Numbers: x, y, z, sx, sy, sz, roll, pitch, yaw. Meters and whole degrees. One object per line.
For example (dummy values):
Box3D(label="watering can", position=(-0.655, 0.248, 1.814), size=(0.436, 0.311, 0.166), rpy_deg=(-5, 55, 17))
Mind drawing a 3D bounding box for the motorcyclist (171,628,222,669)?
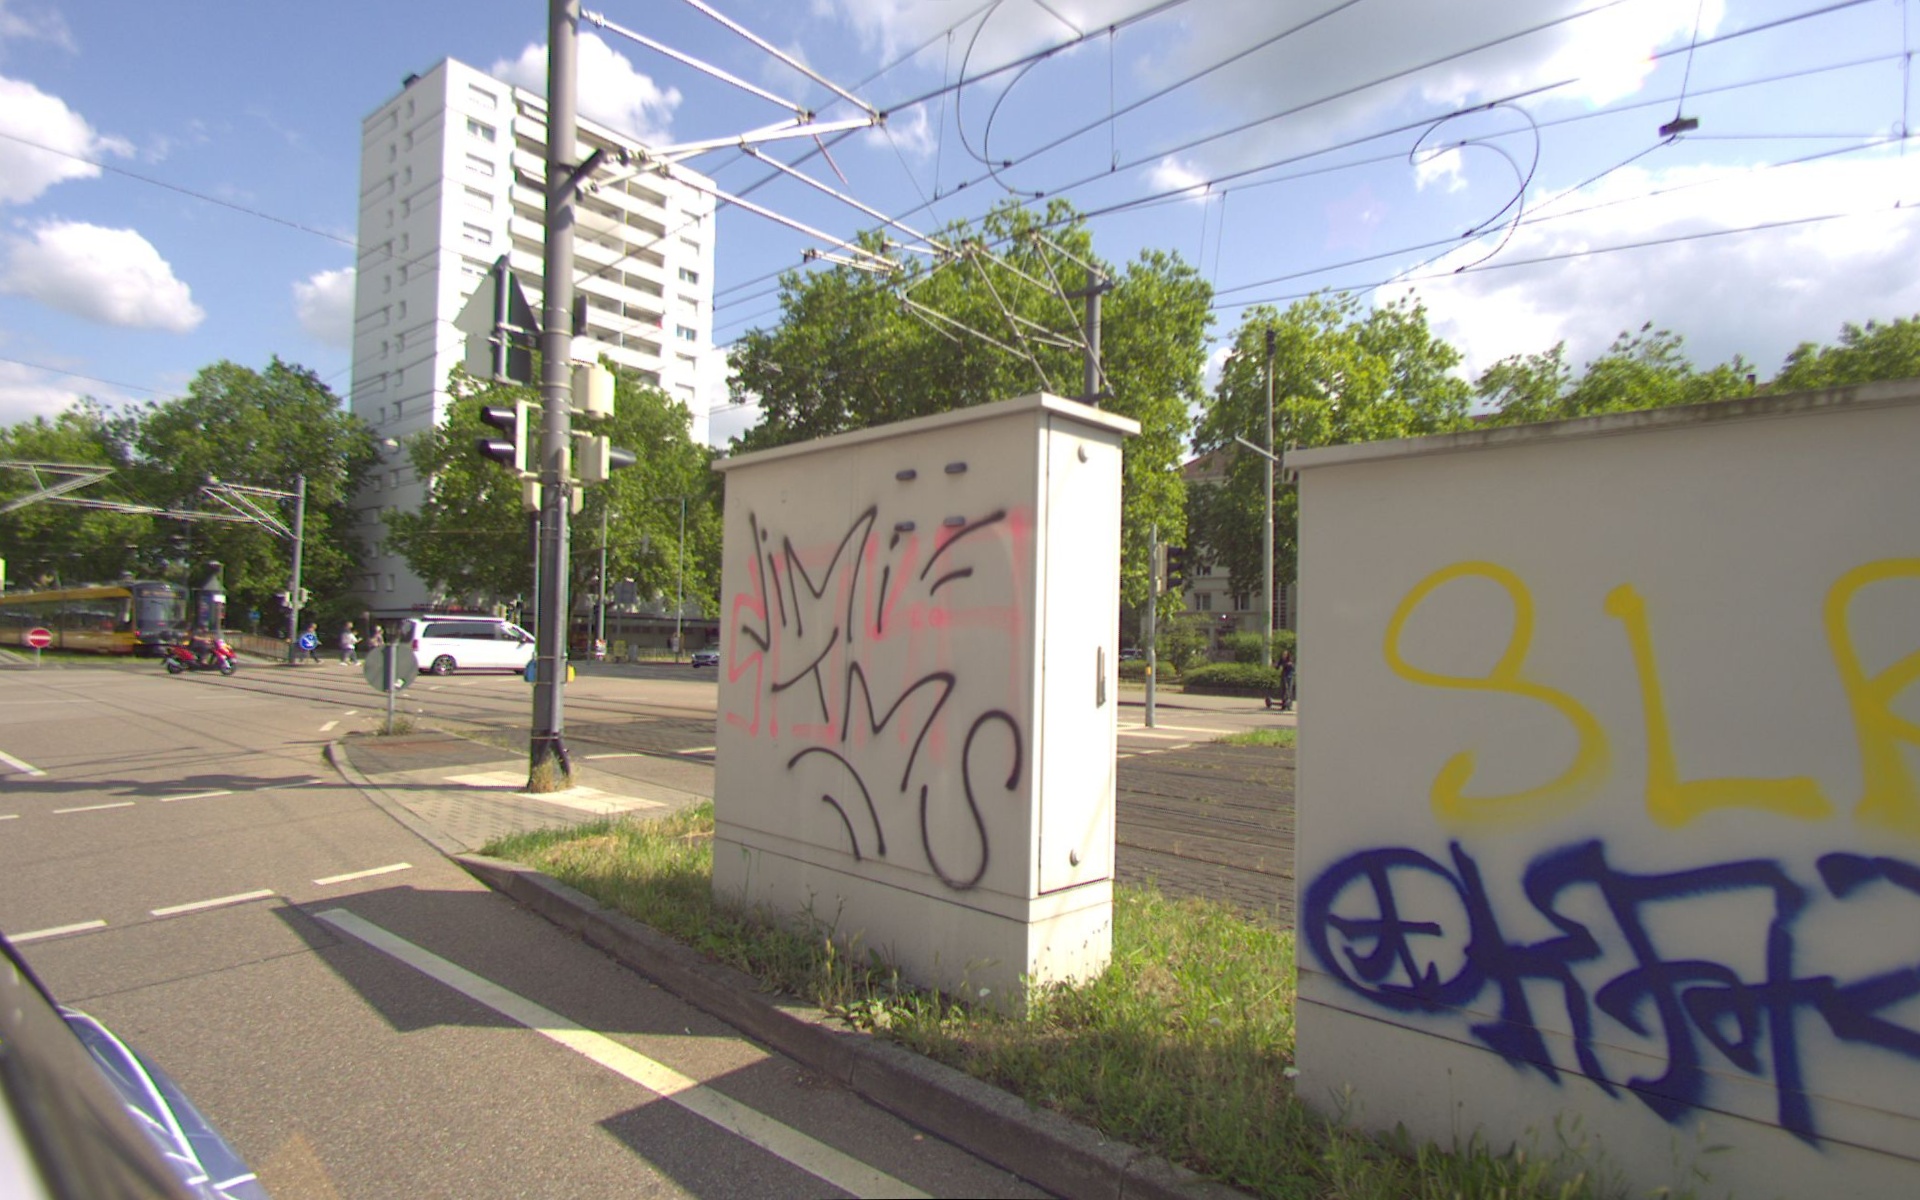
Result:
Box3D(label="motorcyclist", position=(-23.063, 1.465, 30.595), size=(0.962, 1.227, 0.699), rpy_deg=(1, -2, -5))

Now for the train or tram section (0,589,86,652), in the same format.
Box3D(label="train or tram section", position=(-57.109, 1.296, 62.280), size=(12.141, 3.588, 2.778), rpy_deg=(-1, -3, 39))

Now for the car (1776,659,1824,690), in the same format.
Box3D(label="car", position=(48.996, 4.299, 59.114), size=(1.848, 1.672, 4.034), rpy_deg=(-1, -3, 36))

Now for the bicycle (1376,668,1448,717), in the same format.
Box3D(label="bicycle", position=(11.113, 2.265, 24.886), size=(1.604, 1.121, 0.508), rpy_deg=(-1, -1, -12))

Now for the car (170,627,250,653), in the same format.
Box3D(label="car", position=(-46.383, 2.469, 62.632), size=(3.806, 1.501, 1.855), rpy_deg=(1, -3, 10))

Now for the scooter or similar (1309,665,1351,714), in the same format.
Box3D(label="scooter or similar", position=(9.406, 2.270, 25.744), size=(0.535, 1.180, 0.879), rpy_deg=(1, -1, -26))

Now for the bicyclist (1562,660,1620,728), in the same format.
Box3D(label="bicyclist", position=(12.953, 1.914, 20.777), size=(0.464, 1.354, 0.910), rpy_deg=(3, -4, -43))

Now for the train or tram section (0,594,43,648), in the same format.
Box3D(label="train or tram section", position=(-65.265, 1.443, 68.886), size=(8.896, 3.509, 2.739), rpy_deg=(-1, -3, 39))

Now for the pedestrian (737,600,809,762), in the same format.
Box3D(label="pedestrian", position=(-2.089, 0.886, 11.335), size=(0.556, 1.746, 0.522), rpy_deg=(-1, -3, 34))

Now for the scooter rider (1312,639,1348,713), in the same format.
Box3D(label="scooter rider", position=(9.414, 1.923, 25.738), size=(0.535, 1.824, 0.682), rpy_deg=(1, -1, -26))

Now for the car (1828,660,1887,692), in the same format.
Box3D(label="car", position=(51.033, 4.276, 57.638), size=(2.078, 1.672, 4.034), rpy_deg=(-1, -3, 36))

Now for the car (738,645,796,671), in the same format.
Box3D(label="car", position=(-11.858, 3.547, 62.426), size=(1.845, 1.501, 4.053), rpy_deg=(0, -3, 17))

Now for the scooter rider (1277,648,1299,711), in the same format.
Box3D(label="scooter rider", position=(8.585, 2.073, 26.514), size=(0.540, 1.605, 0.435), rpy_deg=(0, -1, 17))

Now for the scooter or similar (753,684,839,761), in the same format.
Box3D(label="scooter or similar", position=(-1.876, 1.388, 11.648), size=(0.552, 0.810, 0.831), rpy_deg=(-1, -3, 34))

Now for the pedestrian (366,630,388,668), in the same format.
Box3D(label="pedestrian", position=(-27.141, 2.273, 47.101), size=(0.647, 1.716, 0.662), rpy_deg=(-1, -3, 41))

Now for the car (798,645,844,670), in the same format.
Box3D(label="car", position=(-9.582, 3.953, 70.057), size=(1.675, 1.632, 3.979), rpy_deg=(0, -3, 16))

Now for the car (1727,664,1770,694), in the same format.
Box3D(label="car", position=(47.143, 4.698, 60.536), size=(1.848, 1.672, 4.034), rpy_deg=(-1, -3, 36))

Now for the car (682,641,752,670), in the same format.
Box3D(label="car", position=(-13.461, 3.092, 56.223), size=(1.848, 1.501, 3.971), rpy_deg=(0, -3, 21))

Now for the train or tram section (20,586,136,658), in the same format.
Box3D(label="train or tram section", position=(-47.982, 1.202, 54.914), size=(11.169, 3.588, 2.778), rpy_deg=(-1, -3, 39))

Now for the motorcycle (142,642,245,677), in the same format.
Box3D(label="motorcycle", position=(-23.133, 1.788, 30.576), size=(2.467, 0.984, 0.699), rpy_deg=(1, -2, -5))

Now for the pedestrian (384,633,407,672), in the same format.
Box3D(label="pedestrian", position=(-25.109, 2.324, 44.987), size=(0.647, 1.716, 0.662), rpy_deg=(-1, -3, 41))

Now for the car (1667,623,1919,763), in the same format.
Box3D(label="car", position=(14.230, 1.401, 15.583), size=(5.329, 2.002, 2.054), rpy_deg=(-3, -5, 39))

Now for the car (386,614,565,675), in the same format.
Box3D(label="car", position=(-16.371, 1.529, 34.407), size=(5.091, 1.906, 2.003), rpy_deg=(3, -3, -41))

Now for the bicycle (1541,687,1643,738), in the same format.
Box3D(label="bicycle", position=(12.943, 2.281, 20.766), size=(0.464, 0.928, 1.719), rpy_deg=(3, -4, -43))

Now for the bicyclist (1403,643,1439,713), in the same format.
Box3D(label="bicyclist", position=(11.353, 1.917, 24.938), size=(0.574, 1.681, 0.508), rpy_deg=(0, -1, -12))

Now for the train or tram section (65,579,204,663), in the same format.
Box3D(label="train or tram section", position=(-39.204, 1.025, 47.855), size=(11.365, 3.588, 2.768), rpy_deg=(-1, -3, 39))

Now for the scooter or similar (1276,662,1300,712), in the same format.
Box3D(label="scooter or similar", position=(8.566, 2.251, 26.443), size=(0.540, 1.235, 0.872), rpy_deg=(0, -1, 16))
